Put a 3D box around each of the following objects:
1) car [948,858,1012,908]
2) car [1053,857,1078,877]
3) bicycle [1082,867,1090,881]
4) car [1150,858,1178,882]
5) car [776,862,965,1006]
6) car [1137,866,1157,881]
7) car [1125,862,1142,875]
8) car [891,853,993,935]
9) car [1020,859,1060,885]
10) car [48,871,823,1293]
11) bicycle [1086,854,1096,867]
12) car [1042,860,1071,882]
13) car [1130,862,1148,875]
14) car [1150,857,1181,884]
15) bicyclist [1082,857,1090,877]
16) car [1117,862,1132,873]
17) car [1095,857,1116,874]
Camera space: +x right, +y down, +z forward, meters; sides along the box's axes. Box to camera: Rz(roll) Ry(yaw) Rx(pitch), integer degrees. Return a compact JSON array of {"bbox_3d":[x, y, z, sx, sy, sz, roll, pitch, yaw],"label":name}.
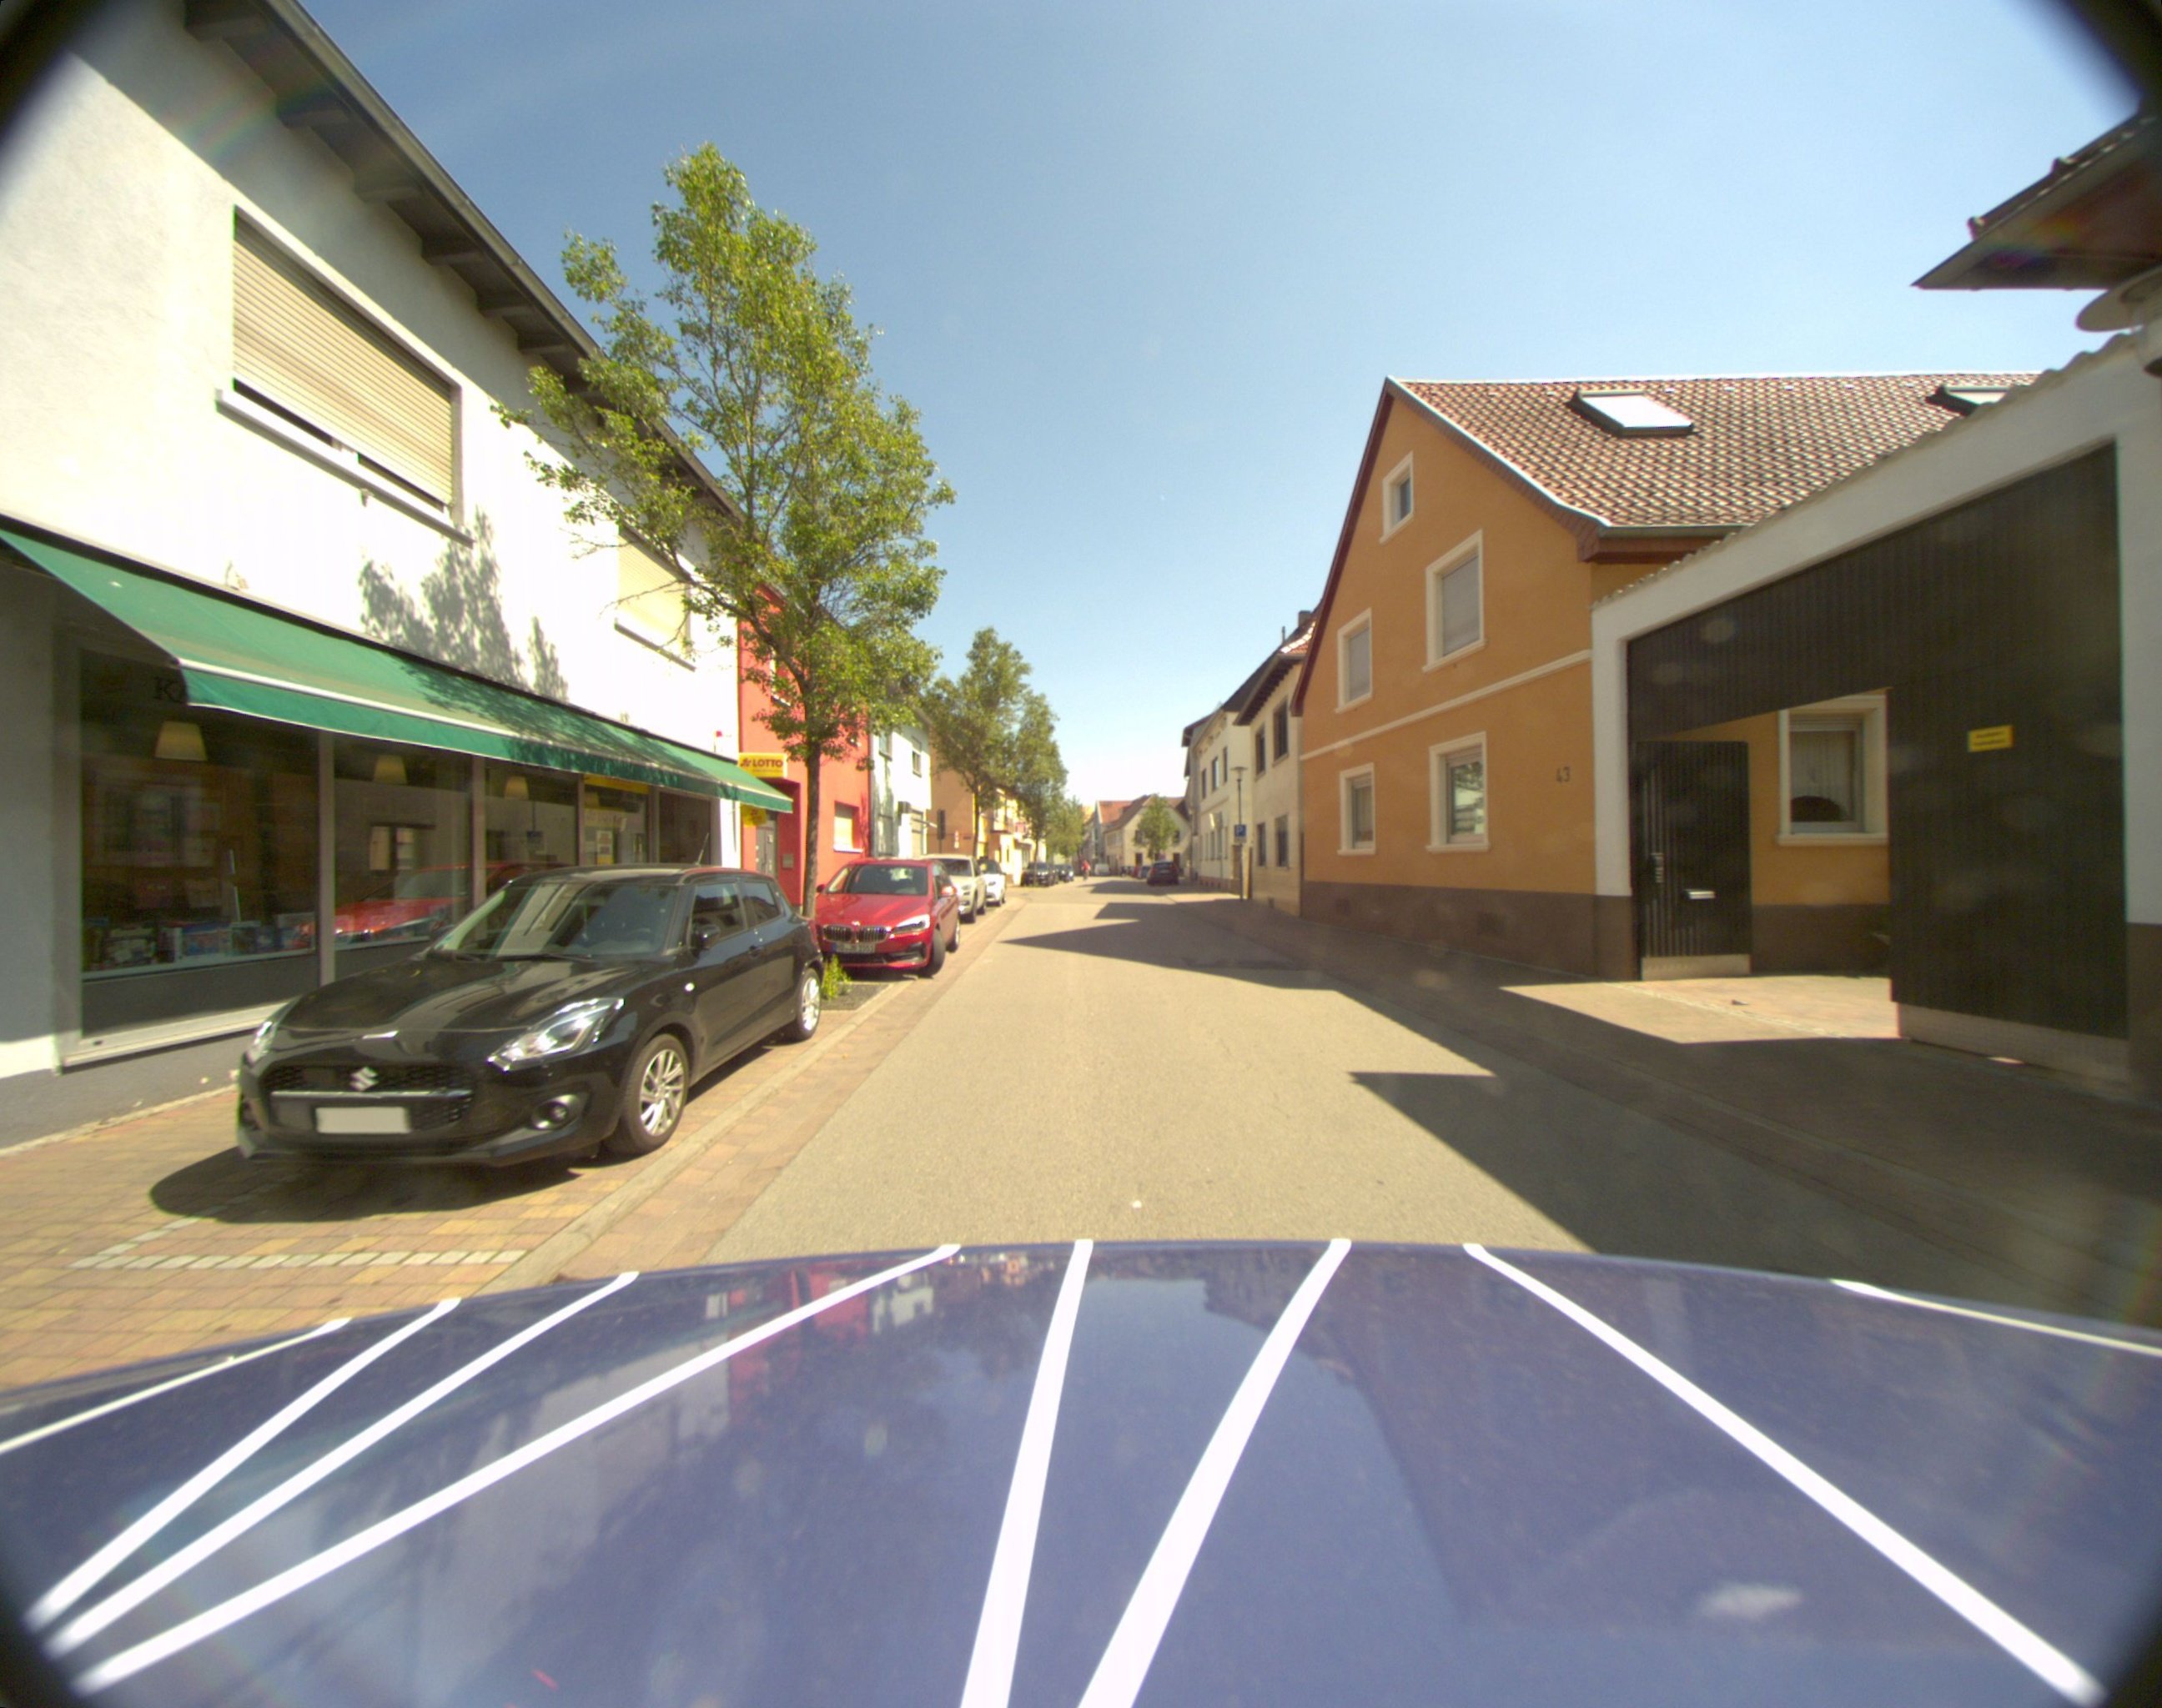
[{"bbox_3d":[-3.382,0.931,26.002,1.715,1.534,3.997,-1,0,-1],"label":"car"},{"bbox_3d":[-1.402,1.204,71.100,1.998,1.759,4.109,-1,0,3],"label":"car"},{"bbox_3d":[0.473,1.858,70.254,0.635,1.227,1.894,1,-1,1],"label":"bicycle"},{"bbox_3d":[5.898,1.137,54.315,1.916,1.605,3.987,-1,0,4],"label":"car"},{"bbox_3d":[-2.845,0.983,11.228,1.834,1.579,4.086,-2,1,-4],"label":"car"},{"bbox_3d":[6.917,2.062,79.863,1.571,1.452,3.802,1,-1,-2],"label":"car"},{"bbox_3d":[6.454,1.808,93.598,1.571,1.452,3.801,1,-1,-2],"label":"car"},{"bbox_3d":[-3.413,0.902,19.581,1.872,1.675,4.659,-3,1,-2],"label":"car"},{"bbox_3d":[-2.602,1.119,49.424,1.928,1.594,4.110,-1,0,6],"label":"car"},{"bbox_3d":[-3.118,0.923,4.810,1.741,1.504,3.734,-1,0,-1],"label":"car"},{"bbox_3d":[1.061,0.674,79.766,0.959,1.363,2.406,-1,0,3],"label":"bicycle"},{"bbox_3d":[-1.958,1.352,62.178,1.998,1.759,4.109,-1,0,3],"label":"car"},{"bbox_3d":[6.545,1.642,86.194,1.571,1.452,3.801,1,-1,-2],"label":"car"},{"bbox_3d":[5.404,1.090,49.228,1.863,1.620,4.050,-2,-2,5],"label":"car"},{"bbox_3d":[0.478,1.213,70.247,0.645,1.766,0.722,1,-1,1],"label":"bicyclist"},{"bbox_3d":[5.801,1.771,101.340,1.571,1.452,3.801,-1,0,-2],"label":"car"},{"bbox_3d":[3.575,1.702,112.094,2.443,2.224,4.959,-4,0,-4],"label":"car"}]
